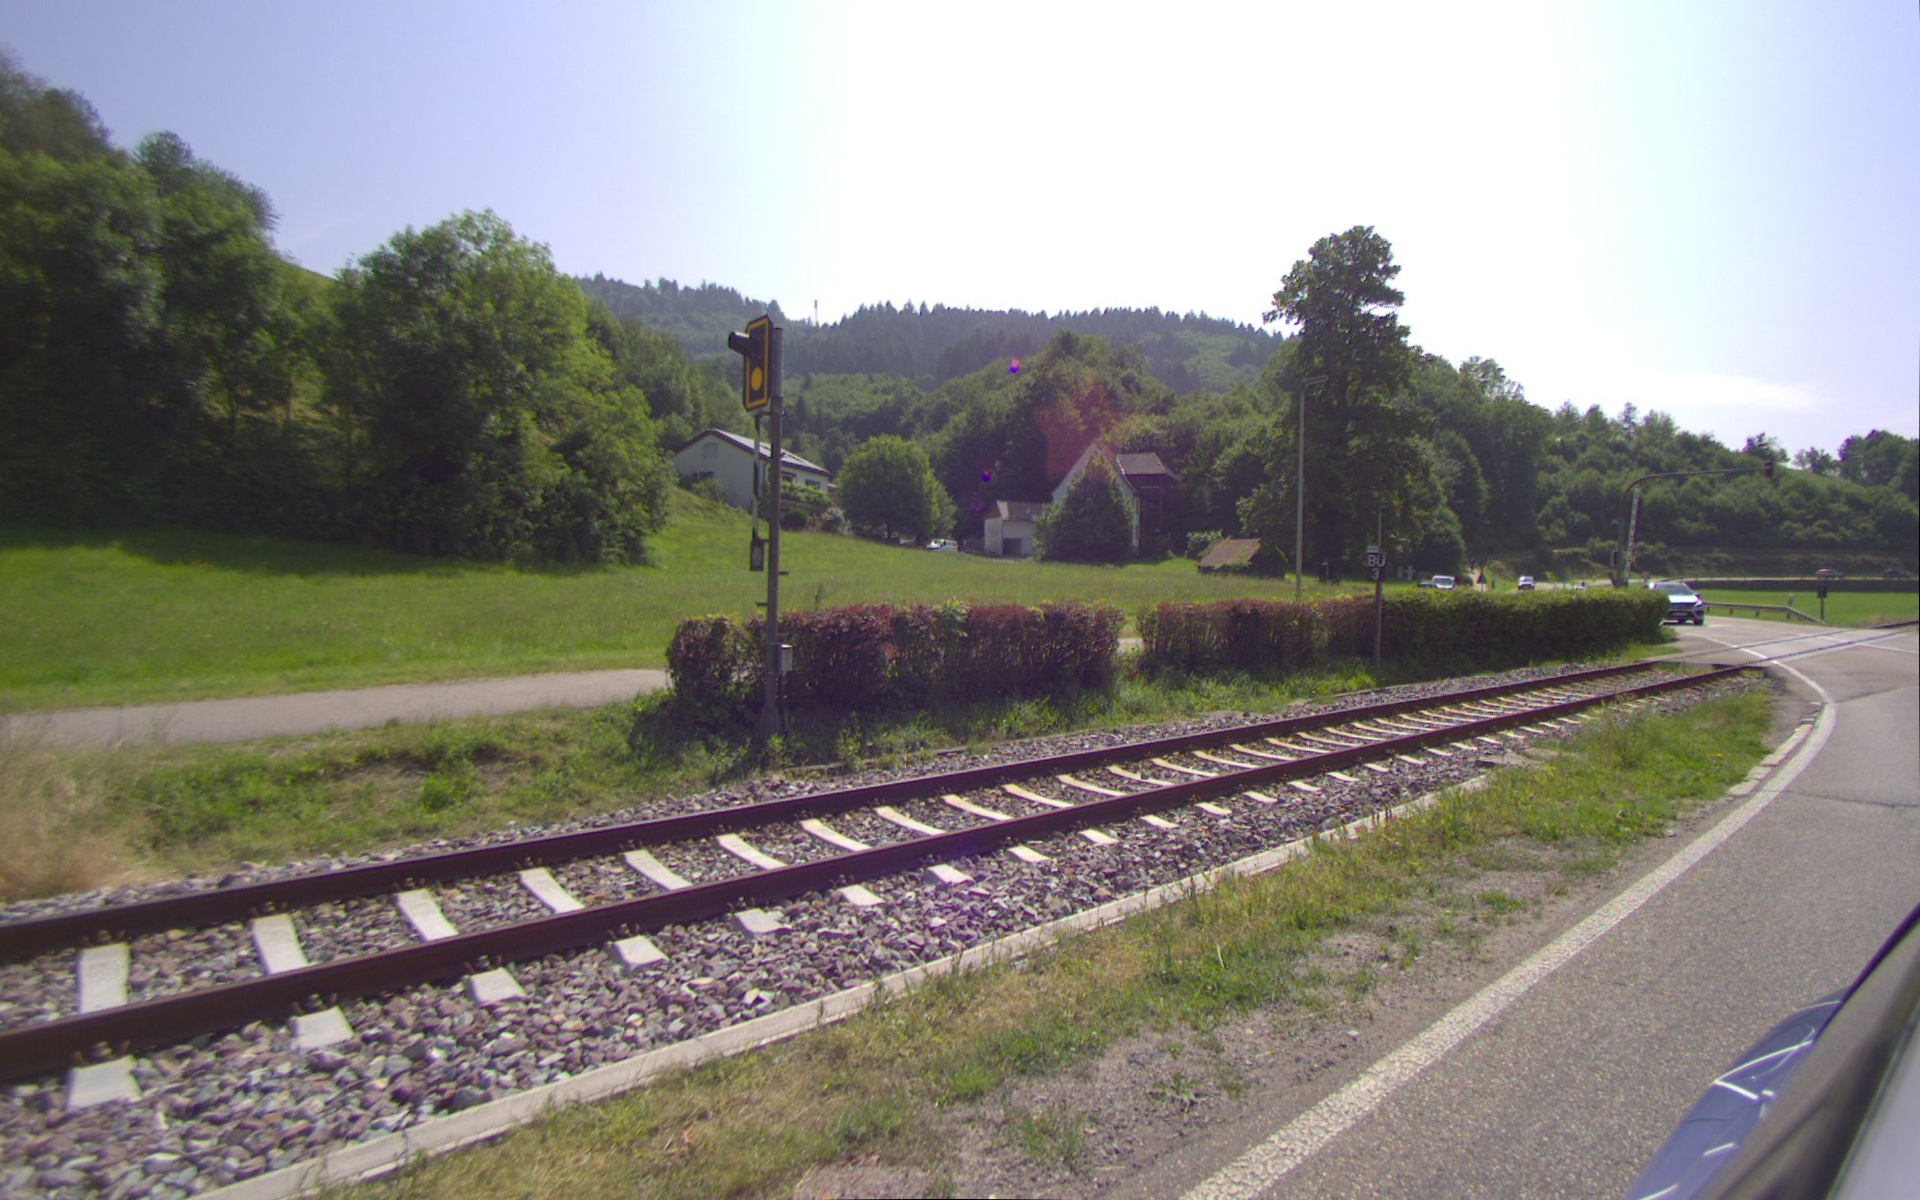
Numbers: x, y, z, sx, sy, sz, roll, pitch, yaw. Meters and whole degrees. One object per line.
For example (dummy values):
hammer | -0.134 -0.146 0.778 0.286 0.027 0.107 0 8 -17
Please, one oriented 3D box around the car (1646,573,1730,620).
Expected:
car | 31.162 -0.200 43.468 2.098 1.836 4.417 2 3 26

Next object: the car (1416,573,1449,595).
car | 37.406 -1.269 80.166 1.655 1.474 3.701 4 4 14

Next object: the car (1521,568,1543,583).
car | 71.678 -3.067 126.799 1.987 1.806 3.952 2 3 34

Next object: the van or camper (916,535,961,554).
van or camper | -2.379 -6.177 112.625 2.792 1.973 5.384 3 3 28

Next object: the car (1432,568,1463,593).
car | 42.101 -1.697 87.321 1.989 1.869 4.821 8 5 28
